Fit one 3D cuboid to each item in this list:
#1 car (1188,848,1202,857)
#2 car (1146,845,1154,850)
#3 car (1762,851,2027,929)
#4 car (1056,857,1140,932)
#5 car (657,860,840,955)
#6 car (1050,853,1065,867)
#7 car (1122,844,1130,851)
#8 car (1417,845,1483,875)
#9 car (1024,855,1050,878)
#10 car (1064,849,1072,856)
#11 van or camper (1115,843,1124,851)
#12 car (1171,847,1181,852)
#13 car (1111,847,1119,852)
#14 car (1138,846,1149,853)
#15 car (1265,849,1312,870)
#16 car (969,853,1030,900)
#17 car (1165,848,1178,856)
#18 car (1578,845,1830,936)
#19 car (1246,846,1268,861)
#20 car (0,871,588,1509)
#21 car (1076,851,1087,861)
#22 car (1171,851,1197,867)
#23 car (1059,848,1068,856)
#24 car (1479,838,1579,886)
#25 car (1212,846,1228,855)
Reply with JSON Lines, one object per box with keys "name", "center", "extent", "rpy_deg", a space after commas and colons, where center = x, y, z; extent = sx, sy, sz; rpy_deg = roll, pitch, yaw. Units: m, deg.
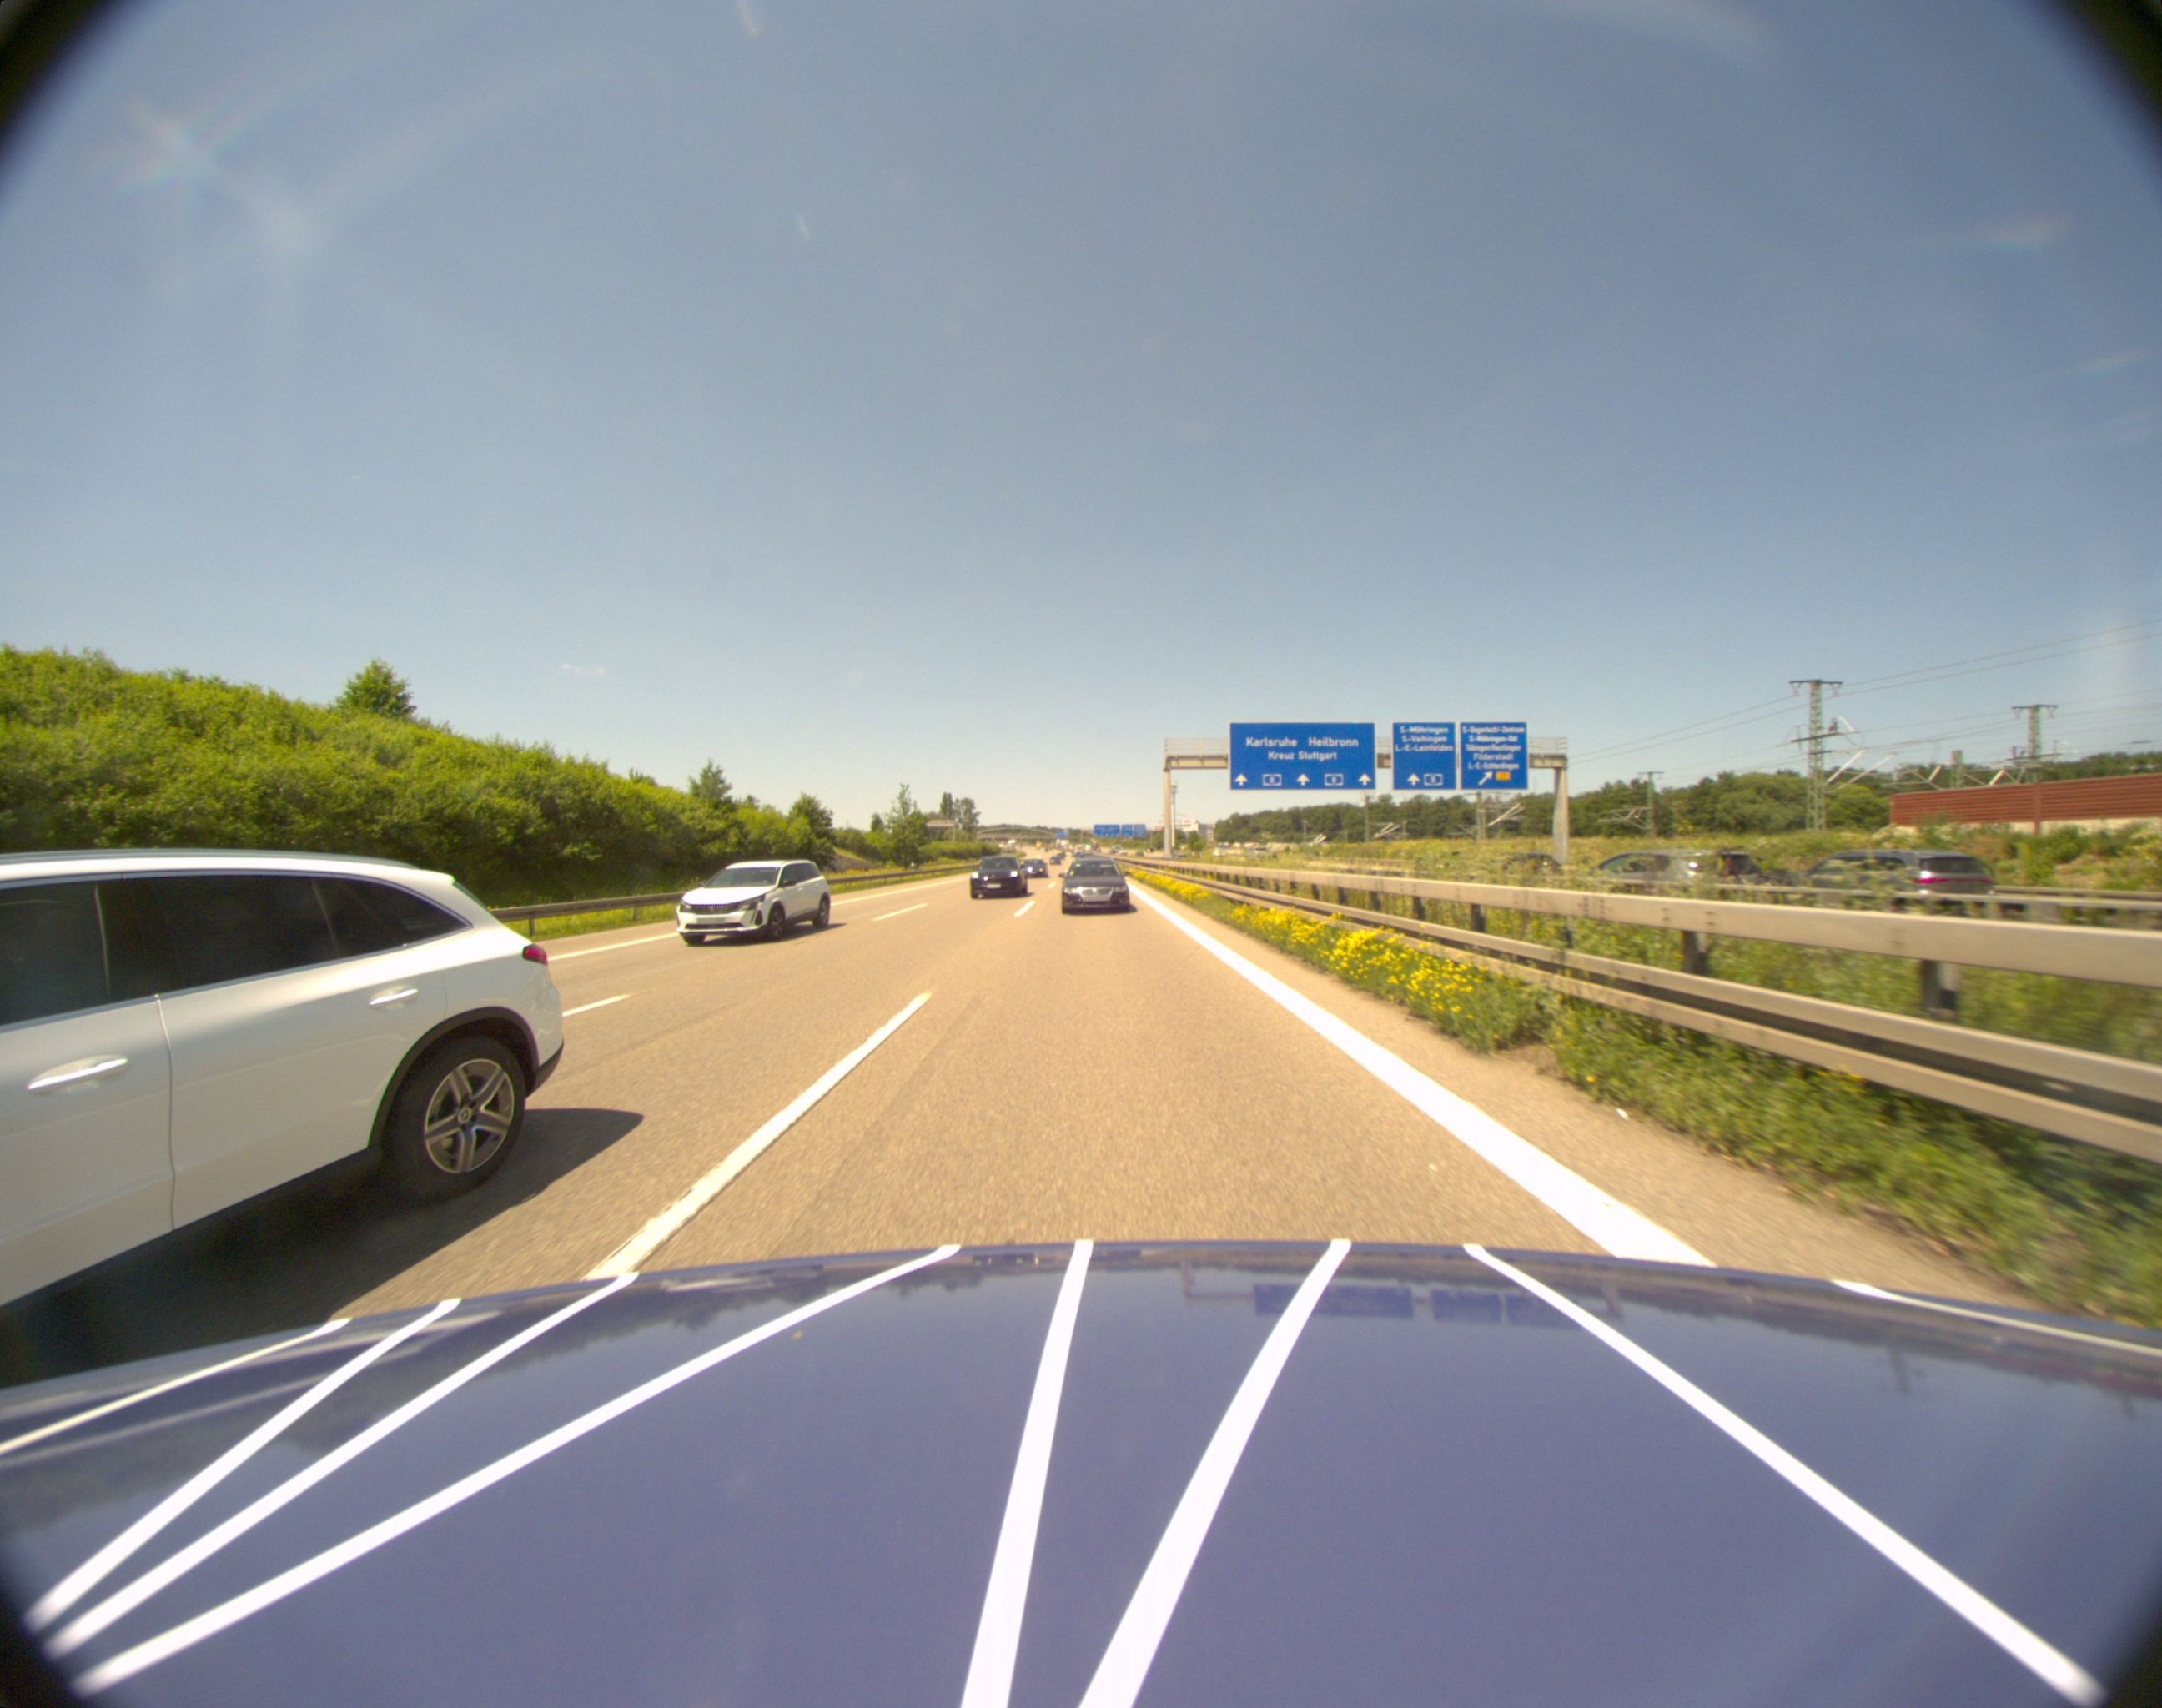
{"name": "car", "center": [20.023, -0.305, 133.427], "extent": [1.998, 1.567, 4.477], "rpy_deg": [-1, 1, 3]}
{"name": "car", "center": [21.340, -2.014, 234.910], "extent": [1.998, 1.588, 4.933], "rpy_deg": [-1, 1, 1]}
{"name": "car", "center": [20.568, 0.821, 19.576], "extent": [1.998, 1.716, 4.513], "rpy_deg": [-2, 0, 1]}
{"name": "car", "center": [0.345, 0.888, 18.398], "extent": [1.752, 1.462, 3.999], "rpy_deg": [-2, 1, -1]}
{"name": "car", "center": [-6.985, 1.025, 16.617], "extent": [1.898, 1.620, 4.616], "rpy_deg": [-2, 1, 0]}
{"name": "car", "center": [-3.515, 0.927, 114.102], "extent": [1.999, 2.002, 3.999], "rpy_deg": [-2, 1, -1]}
{"name": "car", "center": [12.474, -1.700, 210.823], "extent": [1.999, 1.820, 5.598], "rpy_deg": [-1, 1, 0]}
{"name": "car", "center": [23.243, 0.354, 48.024], "extent": [1.998, 1.716, 4.513], "rpy_deg": [-2, 0, 1]}
{"name": "car", "center": [-3.176, 0.867, 54.969], "extent": [1.752, 1.462, 3.998], "rpy_deg": [-2, 1, -3]}
{"name": "car", "center": [-3.831, -0.394, 221.640], "extent": [1.998, 2.002, 3.999], "rpy_deg": [-3, 1, 1]}
{"name": "van or camper", "center": [13.602, -2.405, 268.970], "extent": [2.343, 2.641, 7.603], "rpy_deg": [-2, 1, -1]}
{"name": "car", "center": [24.281, -1.140, 195.182], "extent": [1.999, 1.304, 4.162], "rpy_deg": [-1, 1, 0]}
{"name": "car", "center": [10.928, -1.557, 243.759], "extent": [1.999, 1.565, 4.549], "rpy_deg": [-1, 1, -1]}
{"name": "car", "center": [13.972, -1.104, 169.845], "extent": [1.934, 1.475, 4.476], "rpy_deg": [-1, 1, 0]}
{"name": "car", "center": [14.165, 0.347, 52.179], "extent": [1.872, 1.387, 4.512], "rpy_deg": [-1, 0, -2]}
{"name": "car", "center": [-3.153, 0.834, 30.314], "extent": [1.983, 1.620, 4.615], "rpy_deg": [-2, 1, -2]}
{"name": "car", "center": [17.979, -0.417, 150.818], "extent": [1.998, 1.567, 4.476], "rpy_deg": [-1, 1, 1]}
{"name": "car", "center": [13.010, 0.681, 16.297], "extent": [1.998, 1.686, 4.188], "rpy_deg": [0, 0, 1]}
{"name": "car", "center": [24.503, -0.088, 106.115], "extent": [1.998, 1.875, 4.977], "rpy_deg": [-2, 0, 1]}
{"name": "car", "center": [-3.867, 0.959, 2.092], "extent": [1.909, 1.646, 4.636], "rpy_deg": [-2, 0, 0]}
{"name": "car", "center": [0.028, 0.336, 145.910], "extent": [1.999, 1.691, 3.999], "rpy_deg": [-2, 1, -1]}
{"name": "car", "center": [9.766, 0.447, 72.134], "extent": [1.872, 1.387, 4.270], "rpy_deg": [-1, 0, 0]}
{"name": "car", "center": [-3.823, -0.520, 169.231], "extent": [1.999, 1.691, 3.999], "rpy_deg": [-2, 1, -1]}
{"name": "car", "center": [20.282, 0.304, 34.655], "extent": [1.998, 2.002, 4.308], "rpy_deg": [-3, 1, 1]}
{"name": "car", "center": [25.227, -0.594, 137.906], "extent": [1.998, 1.567, 4.476], "rpy_deg": [-1, 1, 1]}
